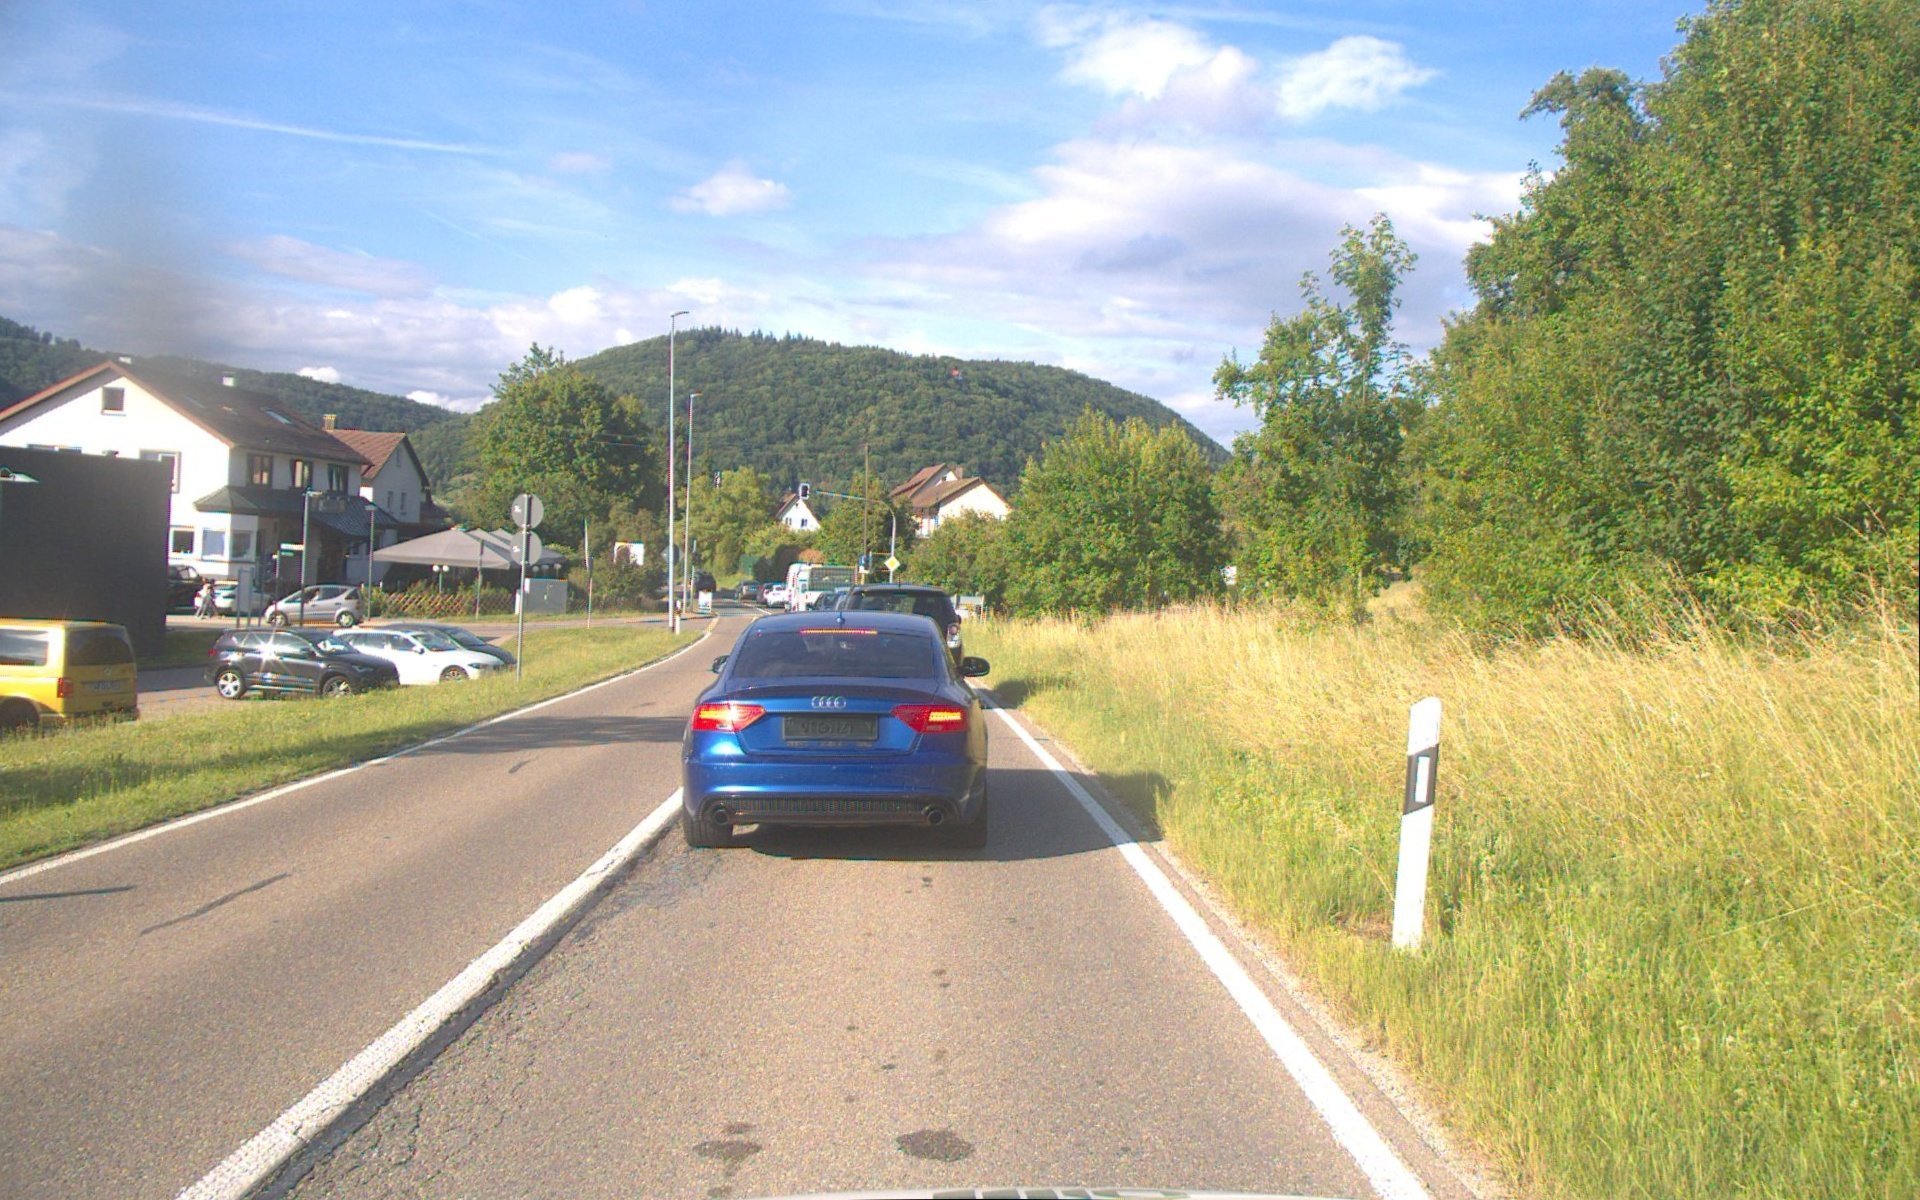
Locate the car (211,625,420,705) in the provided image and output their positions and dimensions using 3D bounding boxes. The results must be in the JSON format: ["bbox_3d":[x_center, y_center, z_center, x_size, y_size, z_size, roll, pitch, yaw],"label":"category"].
[{"bbox_3d":[-14.620,1.439,37.629,3.939,1.666,2.002,1,-1,9],"label":"car"}]

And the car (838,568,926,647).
[{"bbox_3d":[-1.741,0.178,38.104,1.767,1.668,4.463,1,0,0],"label":"car"}]

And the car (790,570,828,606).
[{"bbox_3d":[-7.330,-0.542,80.088,1.713,1.668,3.994,1,0,-7],"label":"car"}]

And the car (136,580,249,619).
[{"bbox_3d":[-30.624,0.013,66.095,1.728,1.467,4.000,1,-1,21],"label":"car"}]

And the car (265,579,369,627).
[{"bbox_3d":[-24.253,0.121,62.518,3.401,1.691,1.734,1,-1,-14],"label":"car"}]

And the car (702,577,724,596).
[{"bbox_3d":[-22.027,-1.218,147.460,1.598,1.604,3.667,1,0,-13],"label":"car"}]

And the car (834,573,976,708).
[{"bbox_3d":[-0.673,0.525,22.906,1.710,1.668,4.000,1,0,1],"label":"car"}]

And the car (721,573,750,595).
[{"bbox_3d":[-16.712,-1.180,123.055,1.670,1.516,3.512,1,0,-16],"label":"car"}]

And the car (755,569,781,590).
[{"bbox_3d":[-14.409,-1.541,123.974,1.666,1.516,3.518,1,0,-10],"label":"car"}]

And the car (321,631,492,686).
[{"bbox_3d":[-14.740,1.553,44.143,3.903,1.333,1.762,1,-1,5],"label":"car"}]

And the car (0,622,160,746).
[{"bbox_3d":[-16.037,1.335,27.634,4.512,1.900,2.002,1,-1,12],"label":"car"}]

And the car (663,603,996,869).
[{"bbox_3d":[-0.655,0.741,10.831,1.758,1.412,4.000,0,0,1],"label":"car"}]

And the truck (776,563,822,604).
[{"bbox_3d":[-8.325,-0.807,85.249,1.668,1.988,5.904,1,0,-12],"label":"truck"}]

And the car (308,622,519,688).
[{"bbox_3d":[-13.855,1.365,42.030,4.711,1.520,1.882,1,-1,9],"label":"car"}]

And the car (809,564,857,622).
[{"bbox_3d":[-5.098,-0.258,66.084,1.713,2.234,3.994,1,0,-7],"label":"car"}]
